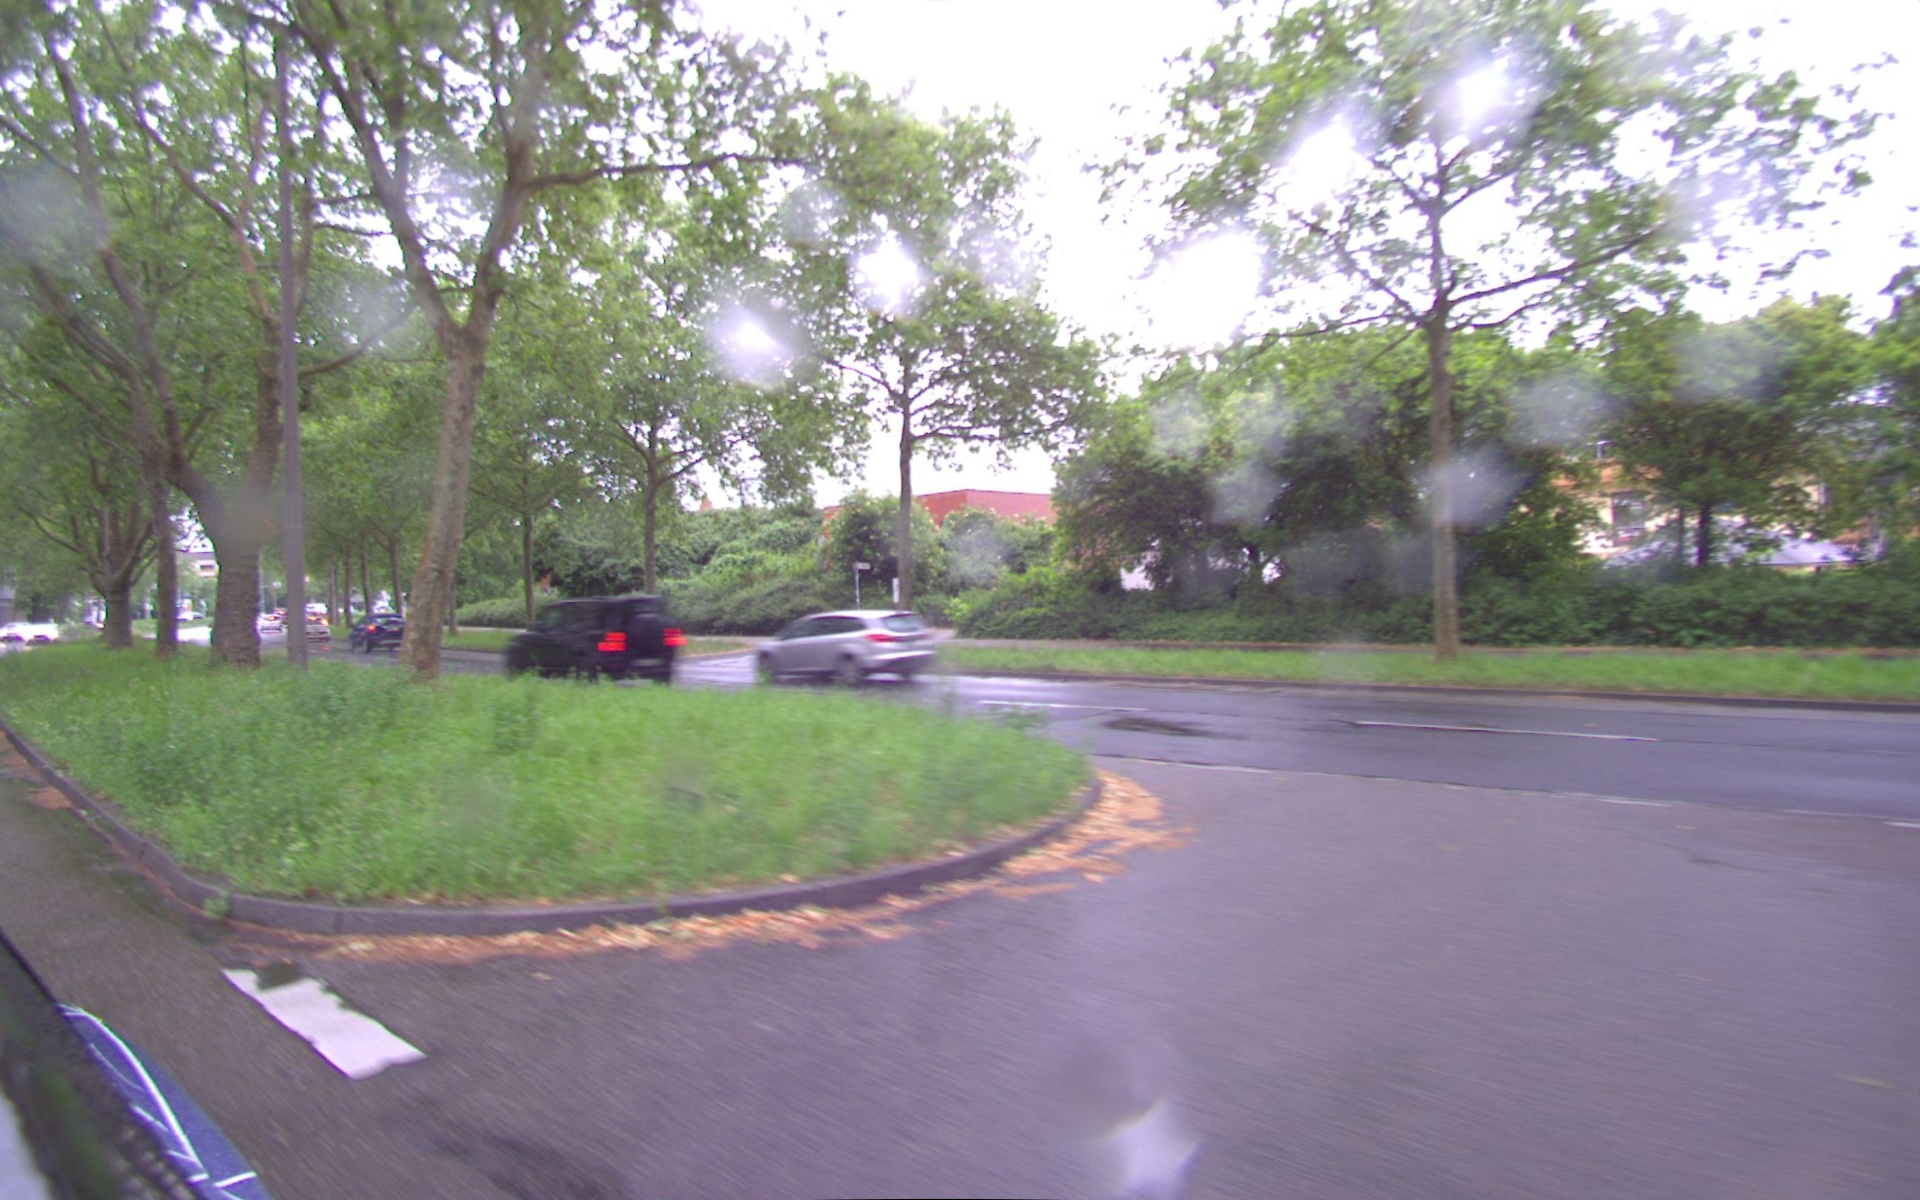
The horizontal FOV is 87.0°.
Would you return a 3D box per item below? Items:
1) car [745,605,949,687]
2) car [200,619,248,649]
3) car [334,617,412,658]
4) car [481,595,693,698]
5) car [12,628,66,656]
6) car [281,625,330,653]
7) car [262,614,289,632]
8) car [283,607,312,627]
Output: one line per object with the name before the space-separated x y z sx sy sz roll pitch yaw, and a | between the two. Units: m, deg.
car | -2.420 0.919 21.066 4.230 1.487 1.726 -2 0 39
car | -42.187 1.927 57.984 1.722 1.603 4.335 -2 0 -43
car | -25.080 1.555 43.196 4.210 1.603 1.724 -1 0 44
car | -7.838 0.911 20.999 5.114 1.855 1.726 -2 0 39
car | -60.713 2.747 66.772 1.967 1.641 4.533 -3 1 -34
car | -38.055 2.219 58.811 1.722 1.487 4.087 -2 0 -42
car | -58.752 1.954 86.902 1.719 1.470 3.853 -2 0 -31
car | -80.010 1.996 122.259 2.001 2.243 5.452 -2 0 -23
